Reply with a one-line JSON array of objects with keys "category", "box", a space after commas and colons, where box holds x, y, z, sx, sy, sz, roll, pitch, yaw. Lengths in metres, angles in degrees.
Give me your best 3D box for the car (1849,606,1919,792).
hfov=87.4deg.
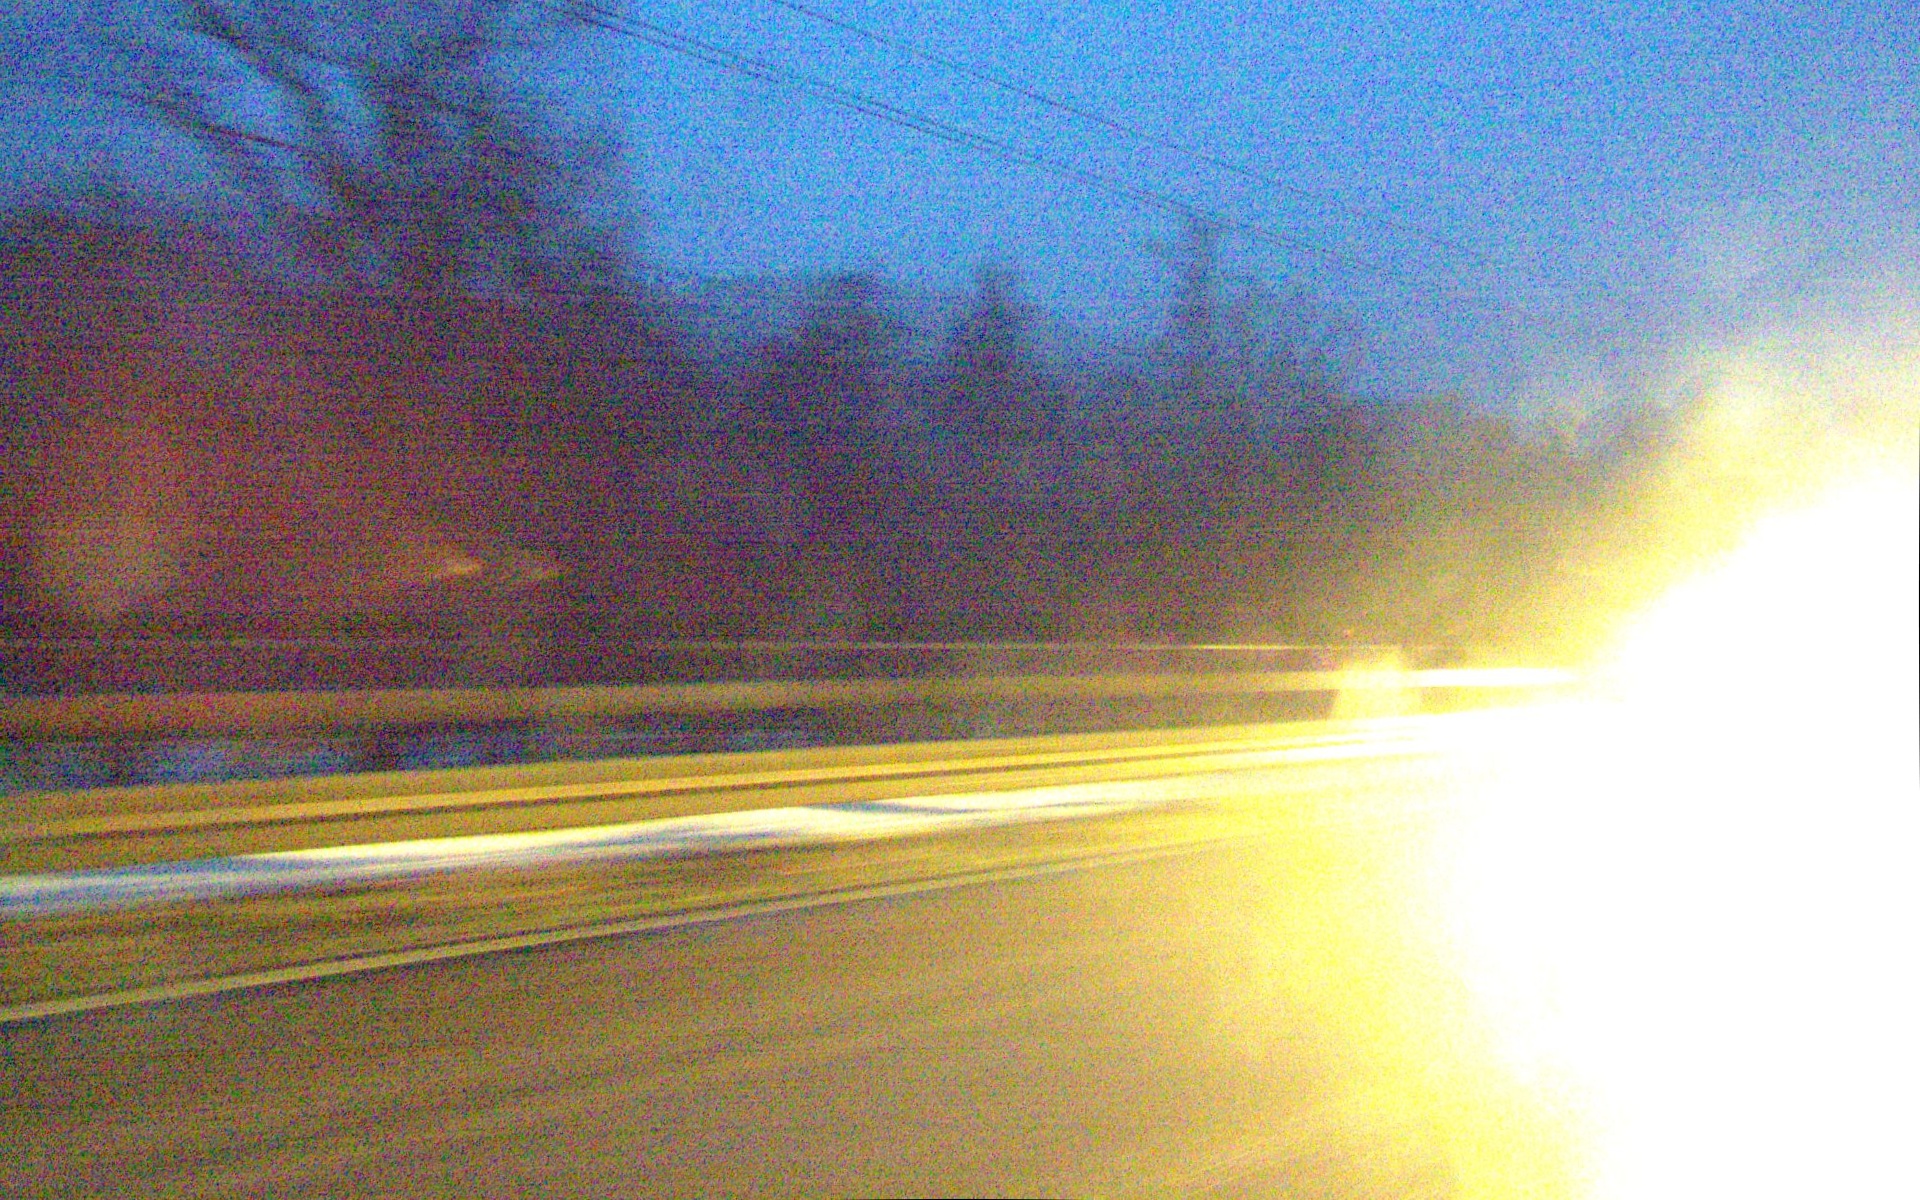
[{"category": "car", "box": [10.325, 0.925, 9.286, 4.592, 1.565, 1.825, 2, -1, -31]}]
